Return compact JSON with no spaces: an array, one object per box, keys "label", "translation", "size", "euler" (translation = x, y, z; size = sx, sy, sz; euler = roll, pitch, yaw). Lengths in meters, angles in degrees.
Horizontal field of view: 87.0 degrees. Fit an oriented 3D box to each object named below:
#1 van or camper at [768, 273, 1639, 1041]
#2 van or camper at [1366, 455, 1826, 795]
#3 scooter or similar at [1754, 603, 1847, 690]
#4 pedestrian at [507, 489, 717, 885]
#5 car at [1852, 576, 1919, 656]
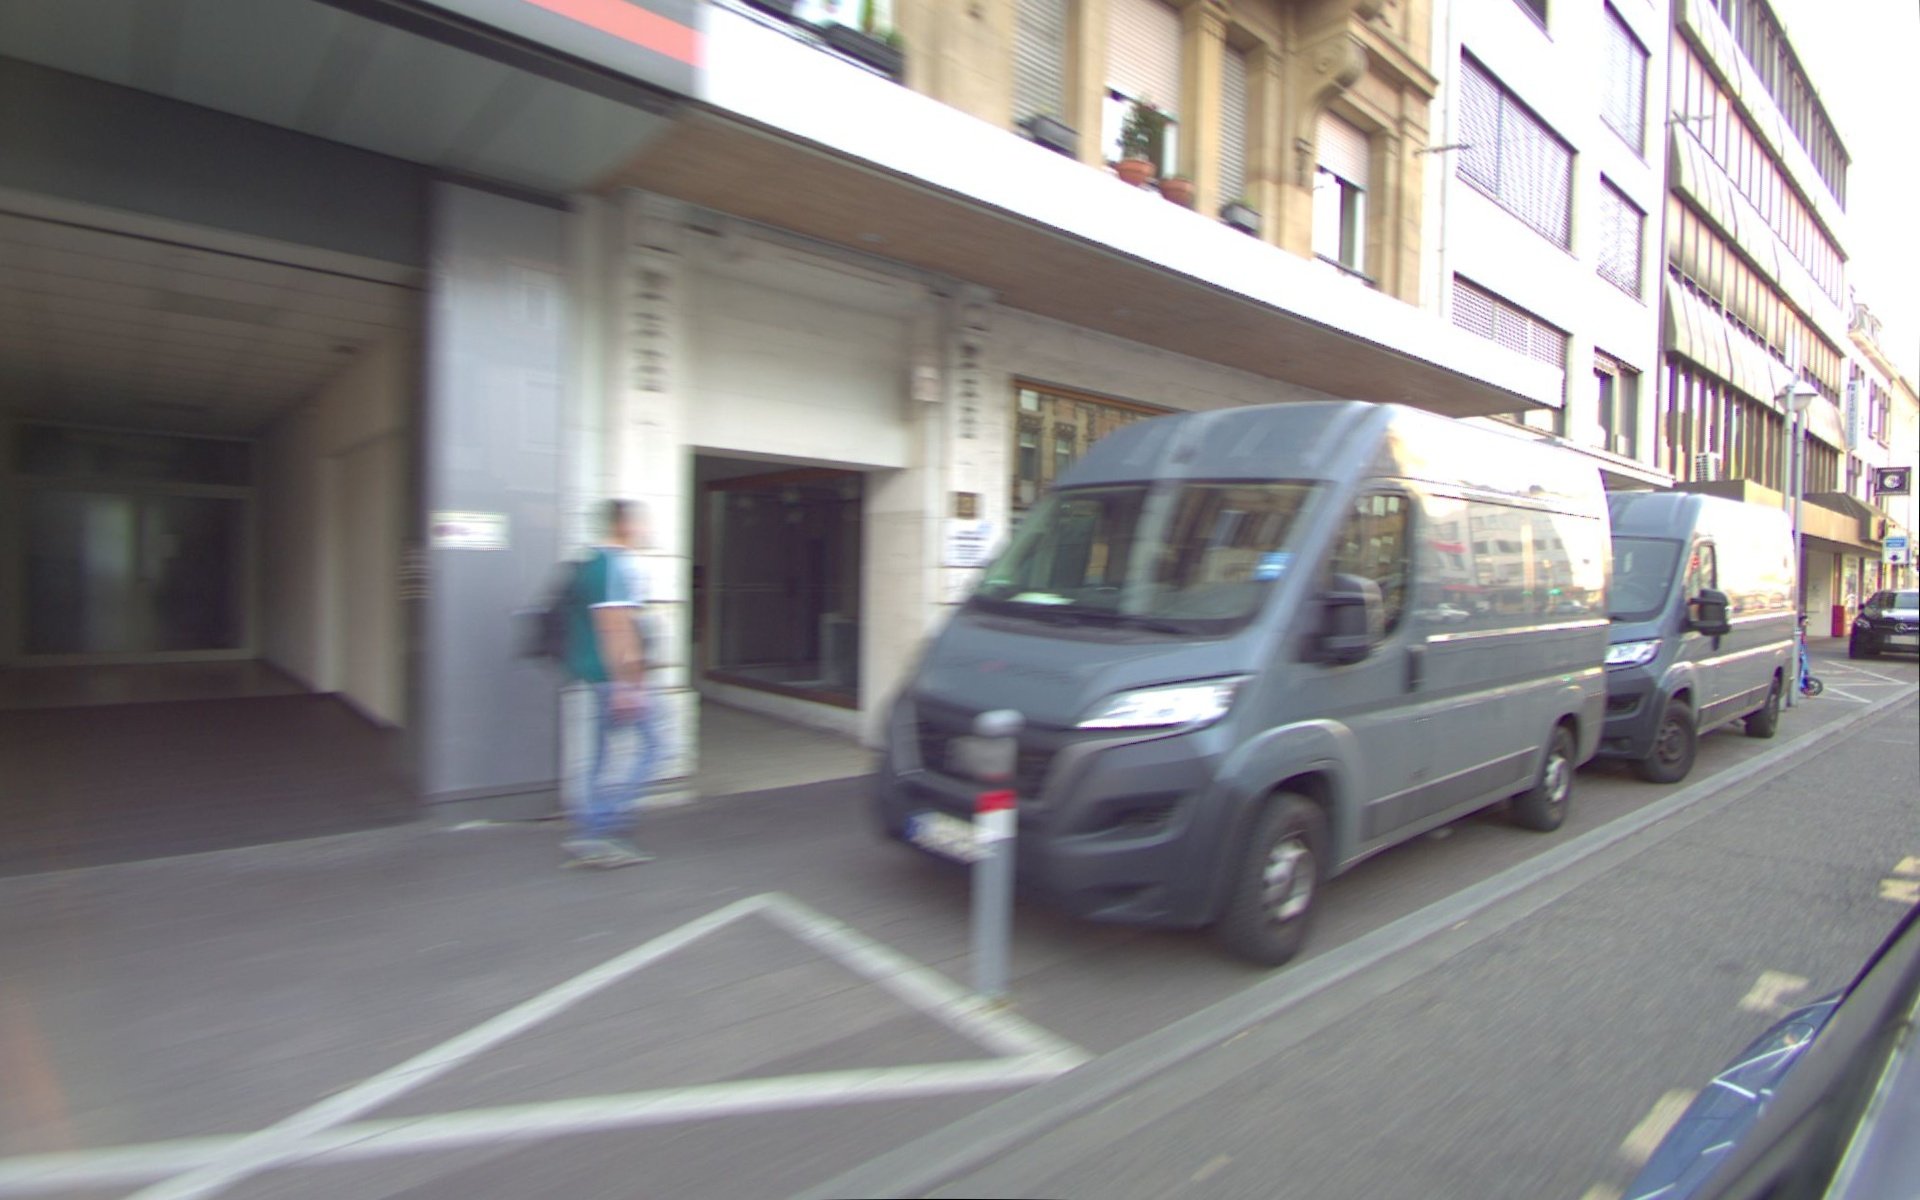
[{"label":"van or camper","translation":[1.834,0.106,5.881],"size":[5.424,2.455,2.192],"euler":[-1,4,-43]},{"label":"van or camper","translation":[6.615,0.098,10.124],"size":[6.026,2.455,2.193],"euler":[0,4,-42]},{"label":"scooter or similar","translation":[12.509,0.694,15.066],"size":[1.092,1.238,0.356],"euler":[2,2,-8]},{"label":"pedestrian","translation":[-1.723,0.368,4.997],"size":[0.754,1.767,0.680],"euler":[0,3,-41]},{"label":"car","translation":[23.637,0.372,24.772],"size":[4.588,1.755,1.989],"euler":[0,4,-40]}]
